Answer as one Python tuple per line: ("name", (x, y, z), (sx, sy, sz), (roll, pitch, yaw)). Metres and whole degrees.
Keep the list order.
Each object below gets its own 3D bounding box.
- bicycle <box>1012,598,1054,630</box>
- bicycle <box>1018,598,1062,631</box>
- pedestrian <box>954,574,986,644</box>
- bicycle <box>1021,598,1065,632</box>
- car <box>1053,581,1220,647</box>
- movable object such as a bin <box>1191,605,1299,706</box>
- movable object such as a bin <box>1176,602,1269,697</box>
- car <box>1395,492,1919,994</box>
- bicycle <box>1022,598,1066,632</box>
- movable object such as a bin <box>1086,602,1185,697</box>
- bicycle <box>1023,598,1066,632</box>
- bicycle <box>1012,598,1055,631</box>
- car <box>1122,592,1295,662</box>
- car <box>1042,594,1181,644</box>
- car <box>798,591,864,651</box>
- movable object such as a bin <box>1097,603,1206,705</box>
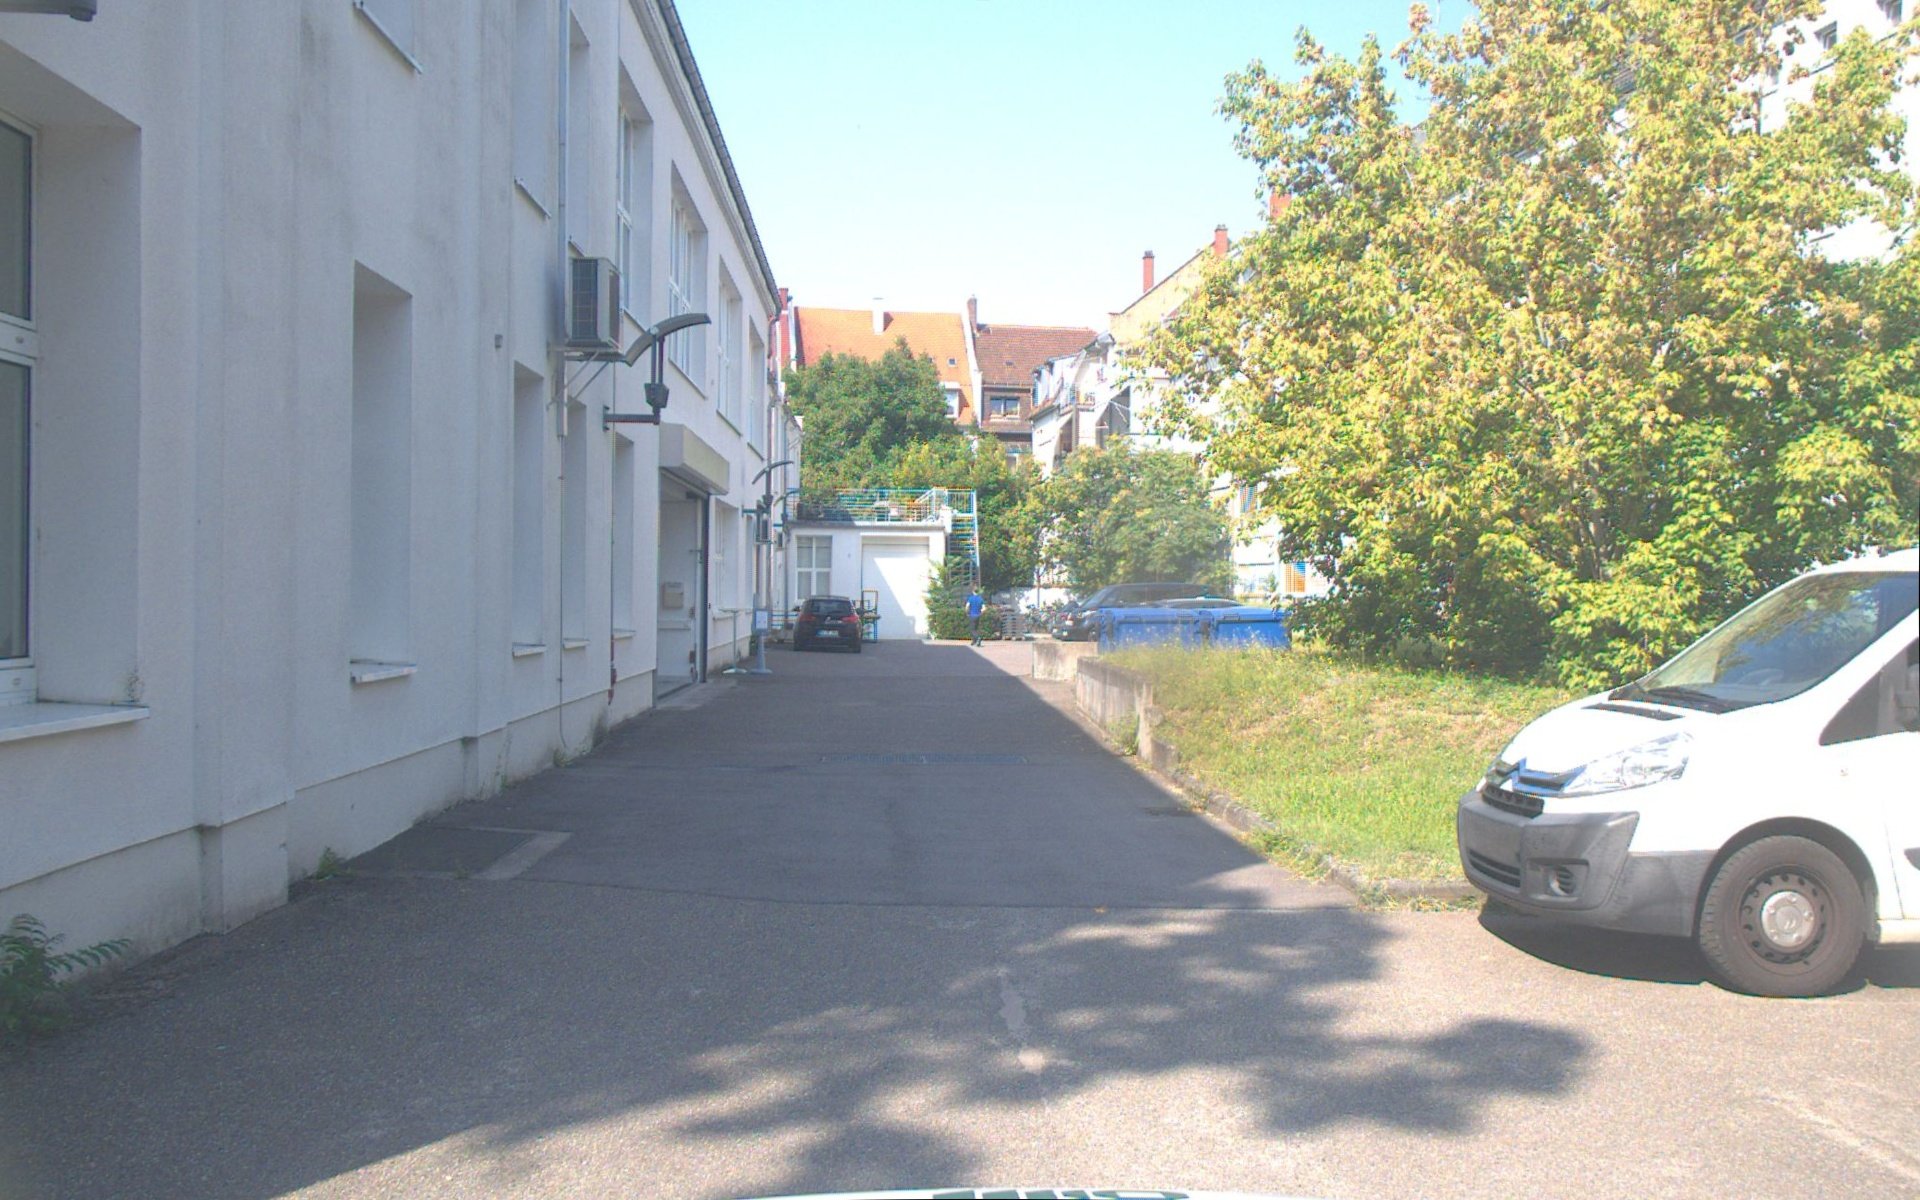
("bicycle", (2.824, 0.555, 64.231), (1.592, 1.235, 0.423), (0, 0, -8))
("bicycle", (3.014, 0.549, 62.325), (1.588, 1.235, 0.327), (0, 0, 10))
("pedestrian", (0.284, 0.270, 49.568), (0.895, 2.049, 0.934), (1, -1, -2))
("bicycle", (3.090, 0.547, 61.513), (1.590, 1.235, 0.327), (0, 0, -1))
("car", (5.042, 0.409, 47.408), (4.421, 1.826, 1.877), (0, -1, -12))
("movable object such as a bin", (3.945, 0.758, 22.991), (1.203, 1.364, 1.075), (1, 0, -7))
("movable object such as a bin", (3.902, 0.728, 24.708), (1.209, 1.364, 1.117), (1, 0, 1))
("car", (4.719, 0.622, 7.622), (4.856, 1.954, 2.043), (1, -1, -1))
("bicycle", (3.081, 0.545, 60.897), (1.590, 1.235, 0.327), (0, 0, -1))
("movable object such as a bin", (2.602, 0.723, 24.686), (1.274, 1.364, 1.194), (1, 0, -3))
("bicycle", (3.132, 0.547, 61.221), (1.590, 1.235, 0.327), (0, 0, -1))
("bicycle", (2.800, 0.549, 62.992), (1.591, 1.235, 0.424), (0, 0, -4))
("car", (6.041, 0.647, 40.428), (3.789, 1.617, 1.876), (1, 0, -8))
("car", (4.589, 0.576, 50.272), (3.863, 1.508, 1.769), (0, -1, -12))
("car", (-3.408, 0.542, 43.848), (1.655, 1.484, 3.919), (1, 0, -4))
("movable object such as a bin", (2.641, 0.735, 22.934), (1.284, 1.364, 1.099), (1, 0, -6))
